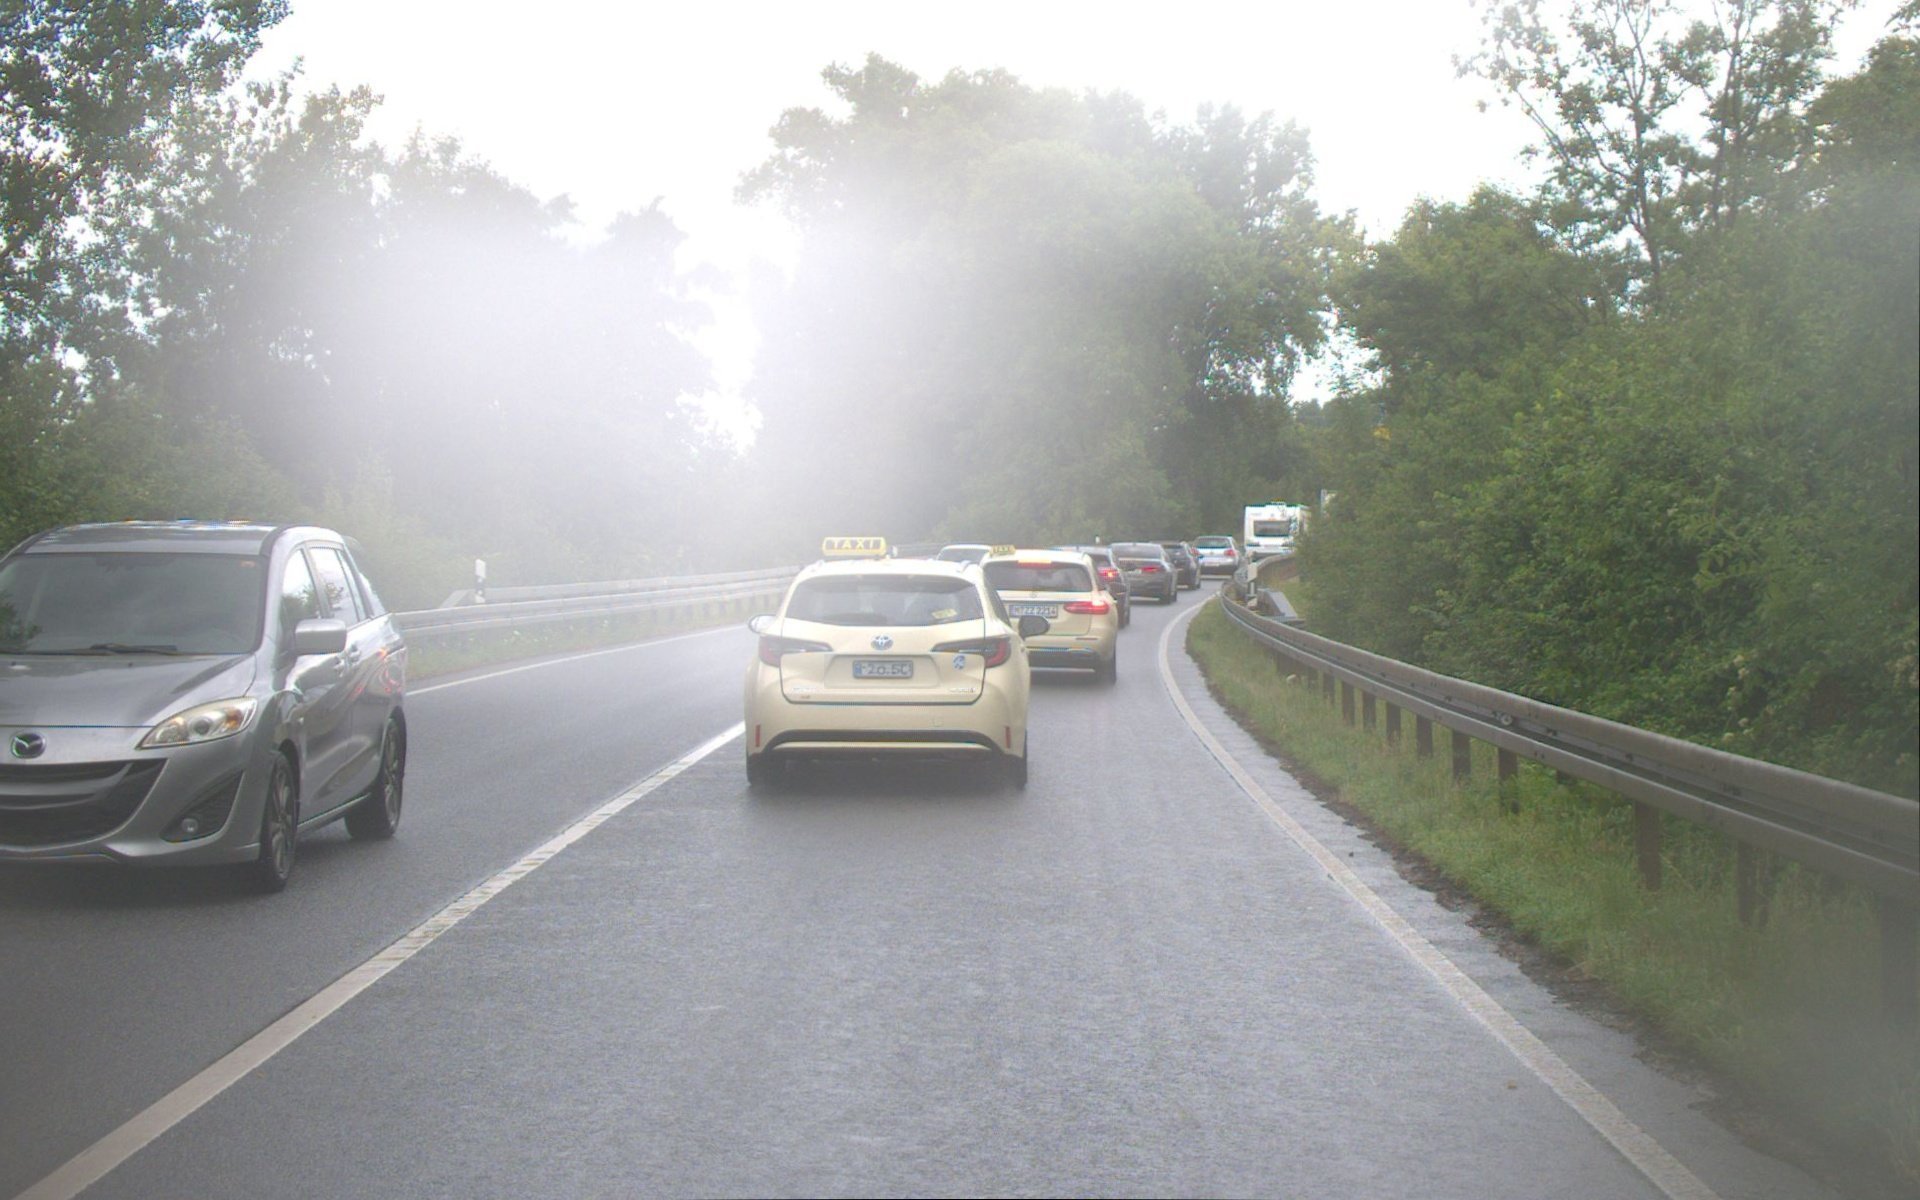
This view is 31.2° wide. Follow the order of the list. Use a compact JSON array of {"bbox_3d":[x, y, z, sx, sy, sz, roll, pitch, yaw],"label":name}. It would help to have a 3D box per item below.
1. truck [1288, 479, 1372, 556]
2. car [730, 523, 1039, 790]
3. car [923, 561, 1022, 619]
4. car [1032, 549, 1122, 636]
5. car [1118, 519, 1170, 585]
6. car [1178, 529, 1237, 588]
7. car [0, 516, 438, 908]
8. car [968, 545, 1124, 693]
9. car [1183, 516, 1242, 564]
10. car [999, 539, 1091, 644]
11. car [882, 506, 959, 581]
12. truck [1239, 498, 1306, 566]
[{"bbox_3d":[18.547,-4.118,171.996,3.109,3.668,6.995,0,0,15],"label":"truck"},{"bbox_3d":[-0.431,0.336,22.633,1.834,1.575,4.156,1,0,1],"label":"car"},{"bbox_3d":[0.325,-0.242,83.193,1.813,1.350,3.998,1,0,9],"label":"car"},{"bbox_3d":[2.171,-0.109,63.934,1.611,1.541,3.813,0,-1,2],"label":"car"},{"bbox_3d":[4.432,-1.138,82.605,1.167,1.541,2.603,1,0,5],"label":"car"},{"bbox_3d":[6.995,-1.158,97.020,1.616,1.607,3.621,1,0,5],"label":"car"},{"bbox_3d":[-3.664,0.404,16.061,1.692,1.568,4.374,1,1,1],"label":"car"},{"bbox_3d":[0.981,0.203,39.022,1.667,1.575,3.892,1,0,2],"label":"car"},{"bbox_3d":[8.591,-2.029,116.707,1.770,1.541,3.813,1,0,7],"label":"car"},{"bbox_3d":[1.271,-0.128,52.216,1.300,1.541,3.260,1,0,0],"label":"car"},{"bbox_3d":[-1.081,-1.545,95.298,1.993,2.007,4.000,1,0,1],"label":"car"},{"bbox_3d":[13.149,-2.818,145.056,2.550,2.704,7.534,1,0,3],"label":"truck"}]
